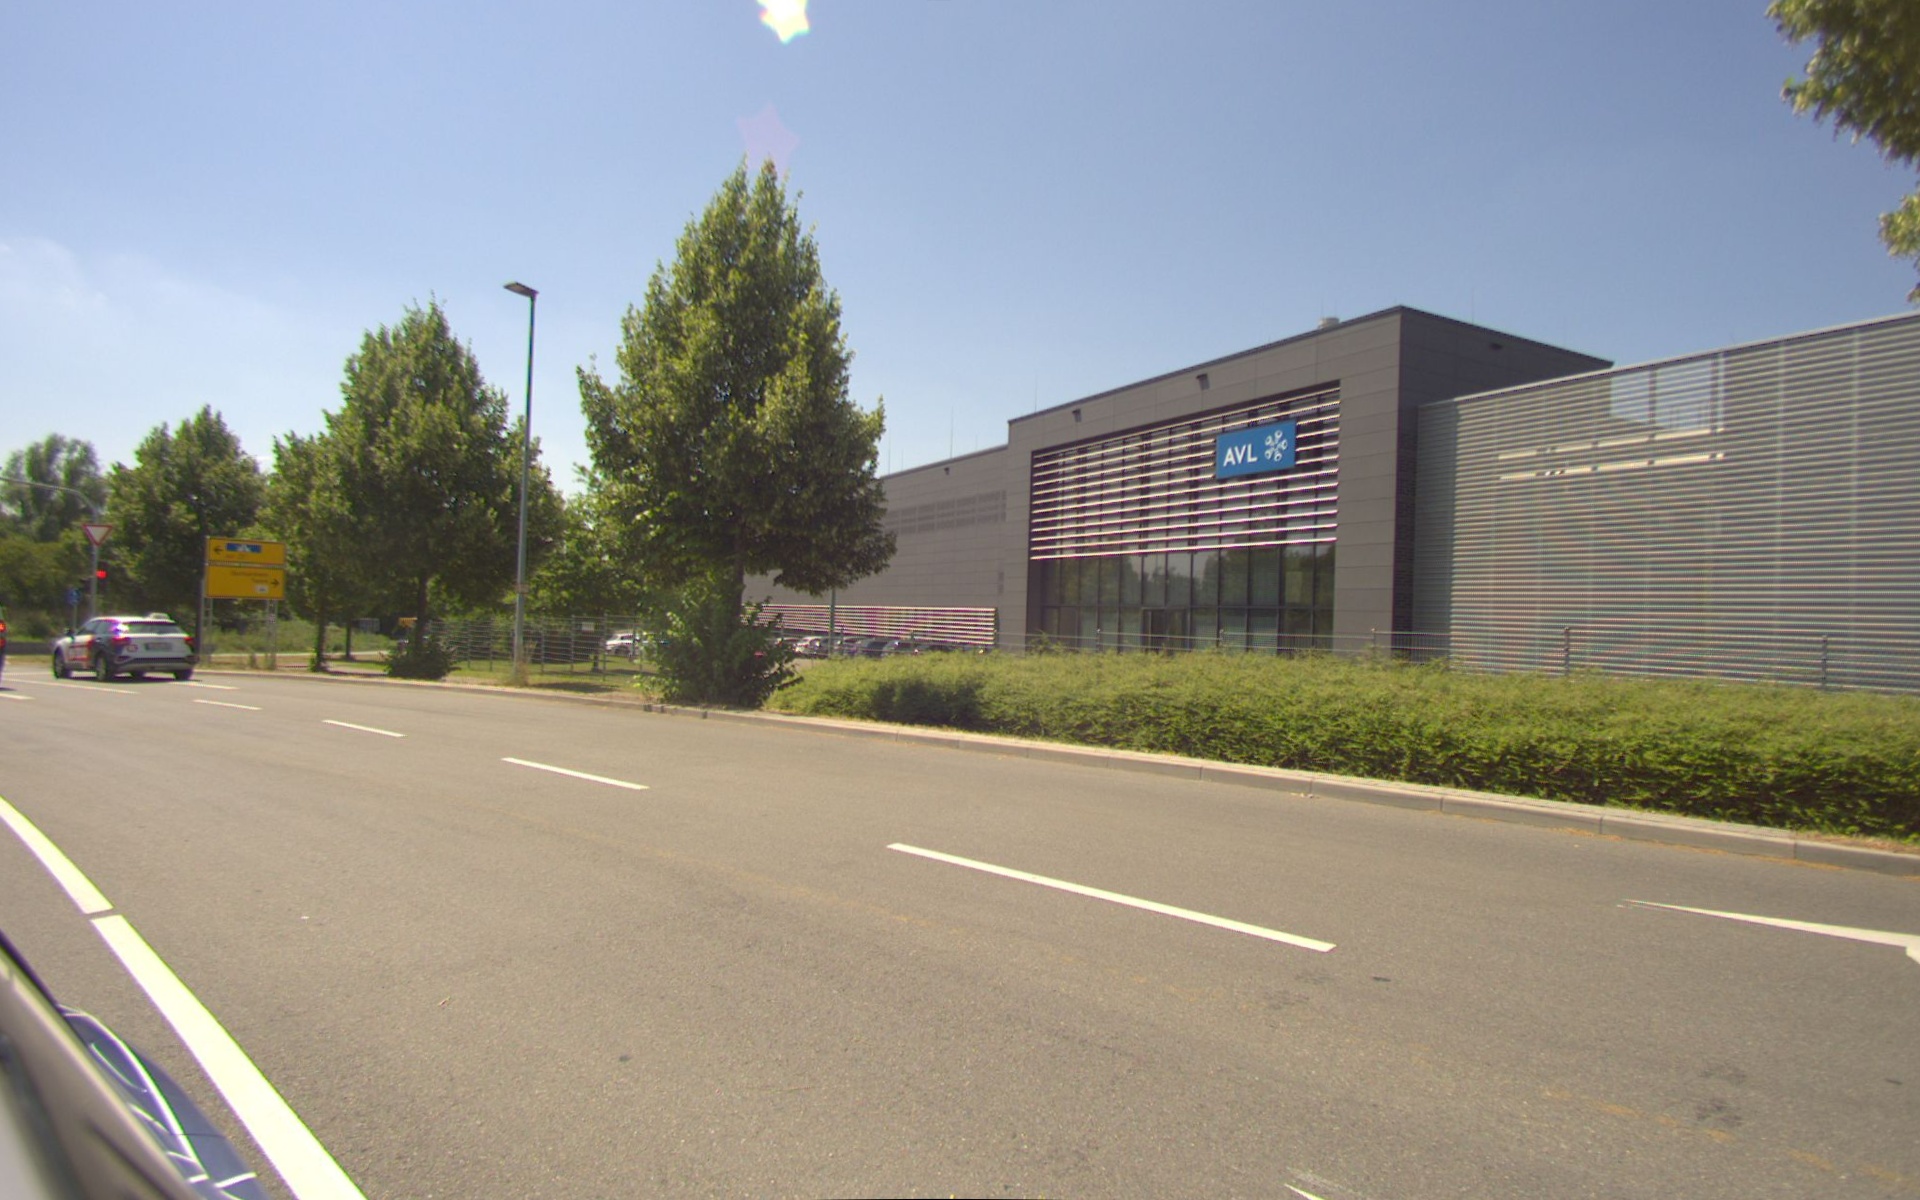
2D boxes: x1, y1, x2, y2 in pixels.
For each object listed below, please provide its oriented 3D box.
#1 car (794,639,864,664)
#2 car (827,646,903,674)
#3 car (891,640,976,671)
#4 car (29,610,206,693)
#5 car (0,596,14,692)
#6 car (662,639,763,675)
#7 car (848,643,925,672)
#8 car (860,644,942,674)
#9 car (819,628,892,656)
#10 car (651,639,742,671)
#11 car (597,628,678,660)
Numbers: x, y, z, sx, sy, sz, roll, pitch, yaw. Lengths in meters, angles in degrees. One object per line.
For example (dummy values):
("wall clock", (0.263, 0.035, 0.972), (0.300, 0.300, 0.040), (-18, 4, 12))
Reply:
("car", (-8.299, 3.292, 64.183), (3.932, 1.497, 2.005), (4, -5, -33))
("car", (-5.567, 3.543, 59.456), (3.932, 1.497, 2.005), (4, -5, -33))
("car", (-1.358, 2.885, 52.470), (3.932, 1.497, 2.005), (4, -5, -33))
("car", (-20.263, 1.162, 24.341), (3.847, 1.720, 1.981), (1, 2, 28))
("car", (-22.181, 0.887, 21.221), (4.849, 1.957, 1.981), (1, 2, 28))
("car", (-11.140, 2.606, 45.572), (3.932, 1.497, 2.005), (4, -5, -33))
("car", (-4.126, 3.268, 57.103), (3.932, 1.540, 1.825), (4, -5, -33))
("car", (-3.182, 3.236, 54.910), (3.932, 1.497, 2.005), (4, -5, -33))
("car", (-6.334, 2.557, 61.613), (3.933, 1.528, 1.925), (0, -3, -33))
("car", (-13.102, 2.761, 50.390), (3.932, 1.497, 2.005), (4, -5, -33))
("car", (-18.416, 2.542, 57.816), (3.932, 1.719, 2.005), (4, -5, -33))
